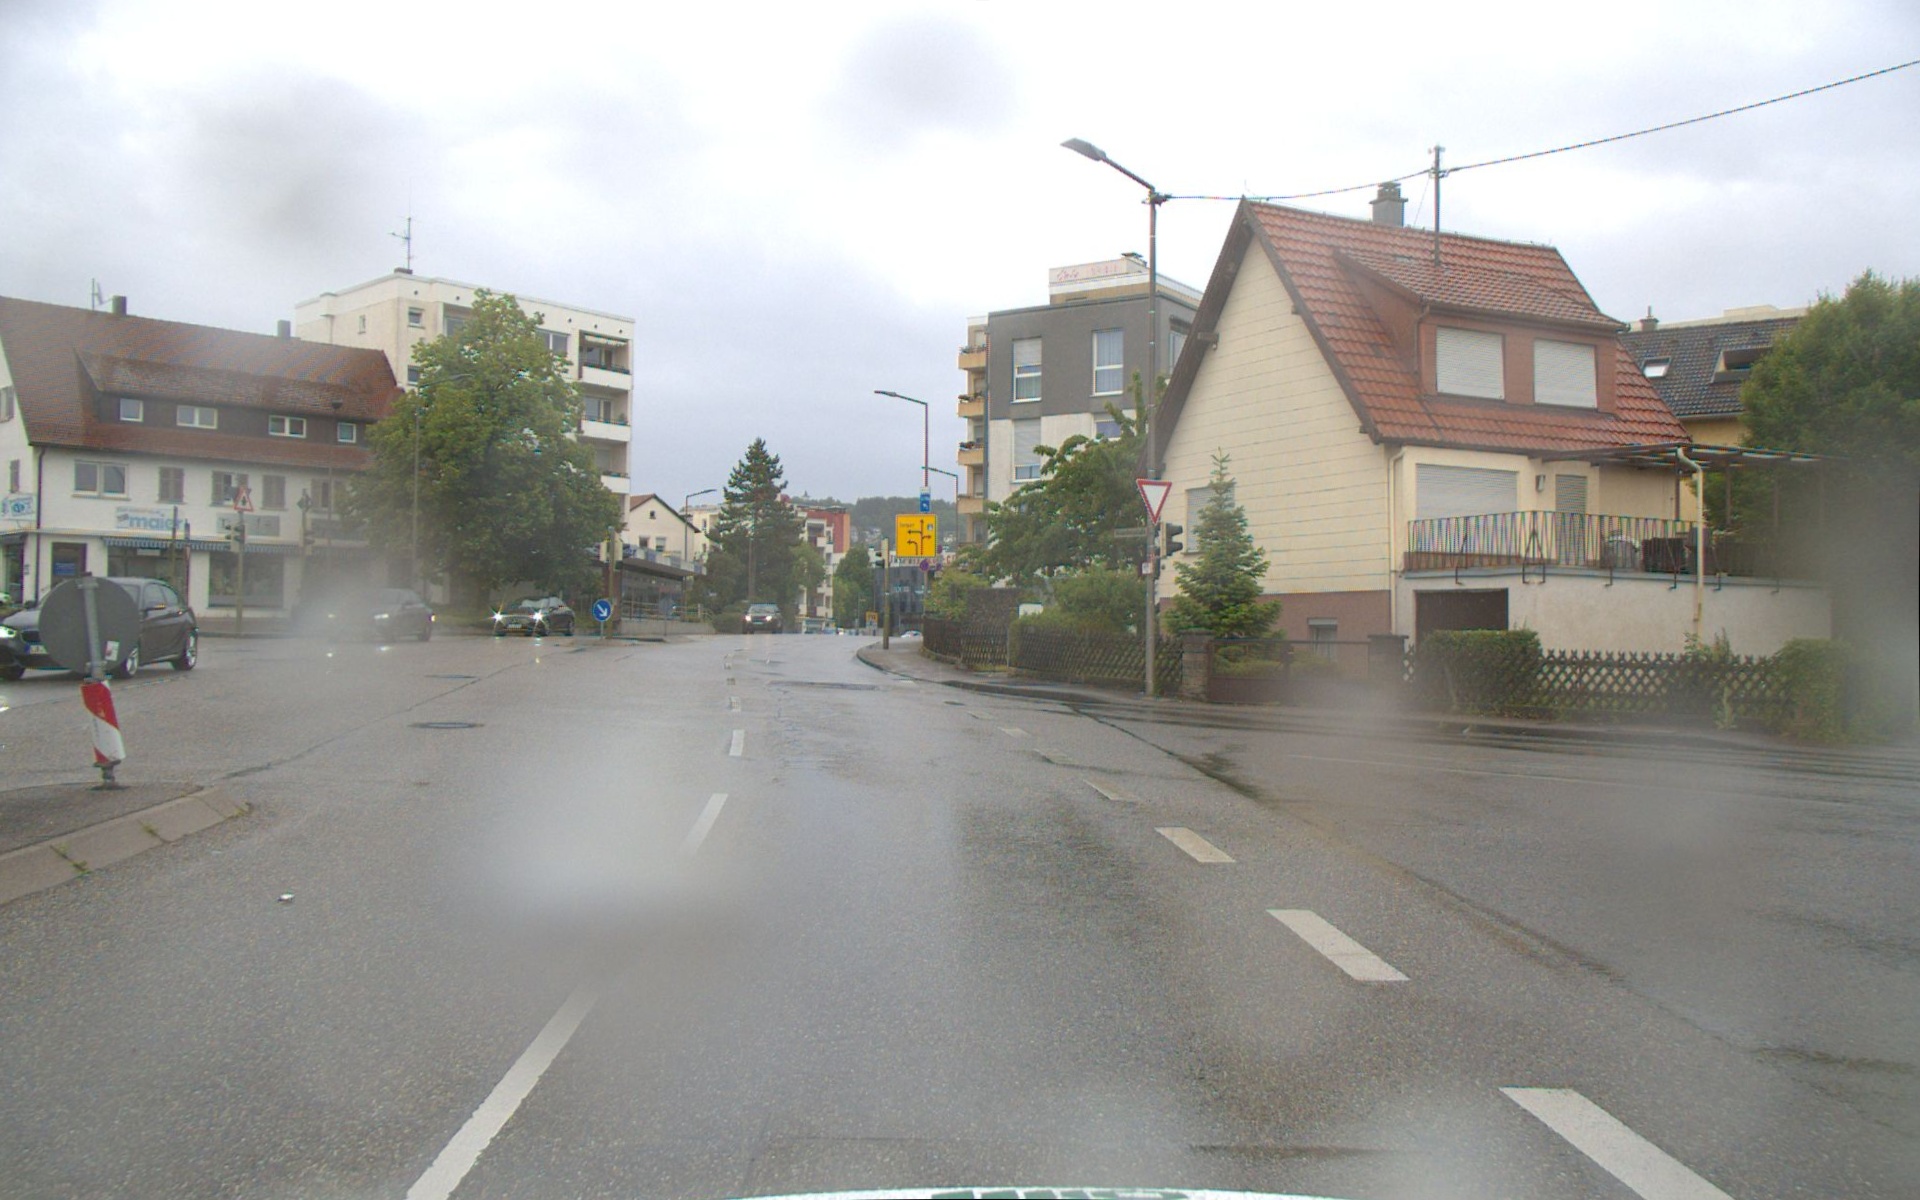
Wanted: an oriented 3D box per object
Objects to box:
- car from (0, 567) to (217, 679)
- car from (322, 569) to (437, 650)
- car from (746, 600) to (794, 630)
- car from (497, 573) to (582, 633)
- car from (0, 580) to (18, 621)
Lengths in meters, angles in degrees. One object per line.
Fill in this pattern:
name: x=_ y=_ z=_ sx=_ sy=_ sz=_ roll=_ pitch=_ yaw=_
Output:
car: x=-12.737 y=0.309 z=24.500 sx=1.752 sy=1.498 sz=4.160 roll=1 pitch=0 yaw=-3
car: x=-16.031 y=0.232 z=45.995 sx=2.052 sy=2.049 sz=5.964 roll=-1 pitch=0 yaw=-10
car: x=-10.378 y=0.819 z=90.689 sx=1.764 sy=1.584 sz=4.320 roll=1 pitch=0 yaw=5
car: x=-15.163 y=0.115 z=59.880 sx=1.953 sy=2.049 sz=4.650 roll=1 pitch=0 yaw=-2
car: x=-38.191 y=-0.012 z=62.719 sx=3.967 sy=1.552 sz=1.969 roll=2 pitch=-1 yaw=-43
